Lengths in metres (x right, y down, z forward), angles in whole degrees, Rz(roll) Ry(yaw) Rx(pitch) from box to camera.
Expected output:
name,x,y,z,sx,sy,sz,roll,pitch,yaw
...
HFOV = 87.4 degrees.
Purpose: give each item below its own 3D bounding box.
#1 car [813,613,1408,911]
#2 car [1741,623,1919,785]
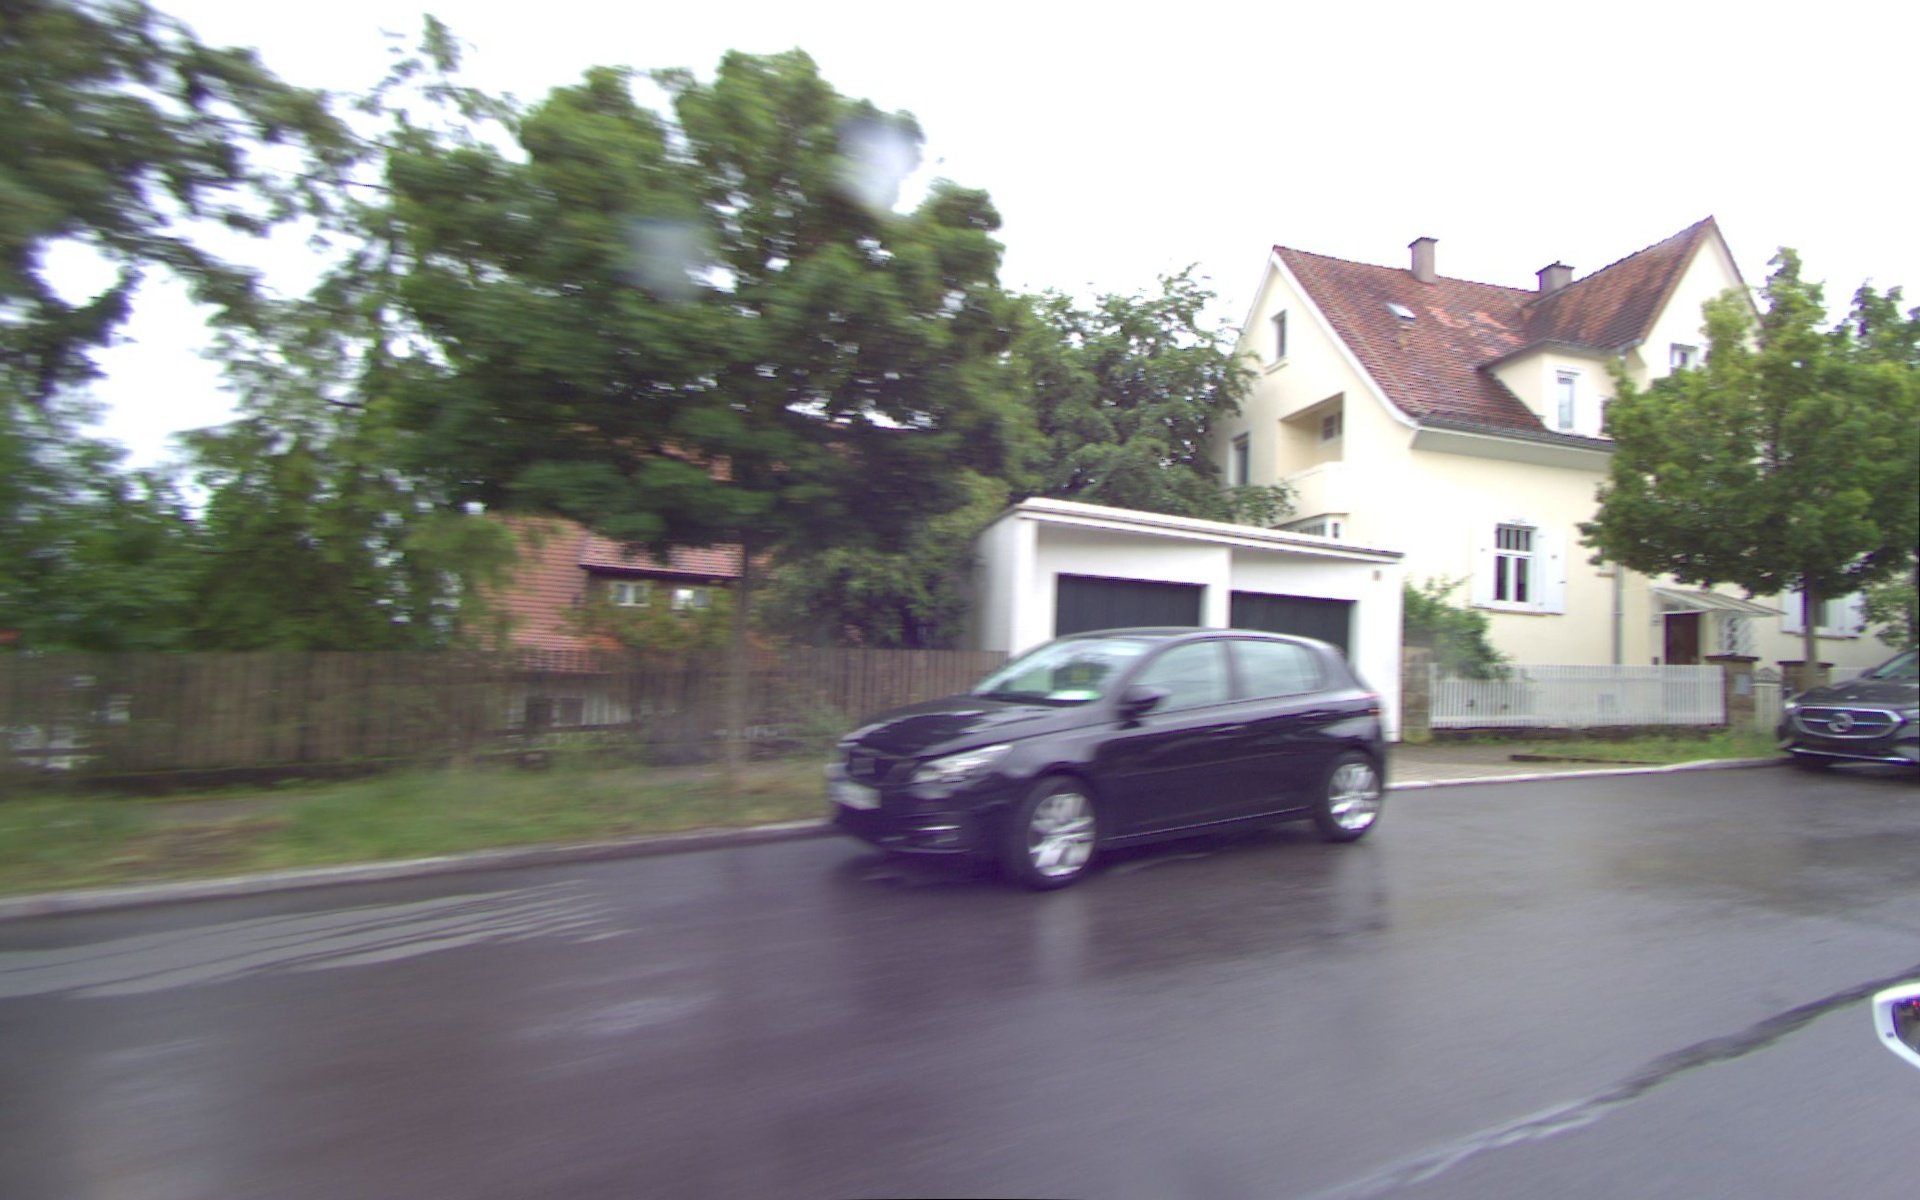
name,x,y,z,sx,sy,sz,roll,pitch,yaw
car,1.115,0.893,6.779,3.853,1.485,1.661,2,-3,-33
car,11.456,1.083,11.179,4.823,1.565,1.867,1,-2,-16
